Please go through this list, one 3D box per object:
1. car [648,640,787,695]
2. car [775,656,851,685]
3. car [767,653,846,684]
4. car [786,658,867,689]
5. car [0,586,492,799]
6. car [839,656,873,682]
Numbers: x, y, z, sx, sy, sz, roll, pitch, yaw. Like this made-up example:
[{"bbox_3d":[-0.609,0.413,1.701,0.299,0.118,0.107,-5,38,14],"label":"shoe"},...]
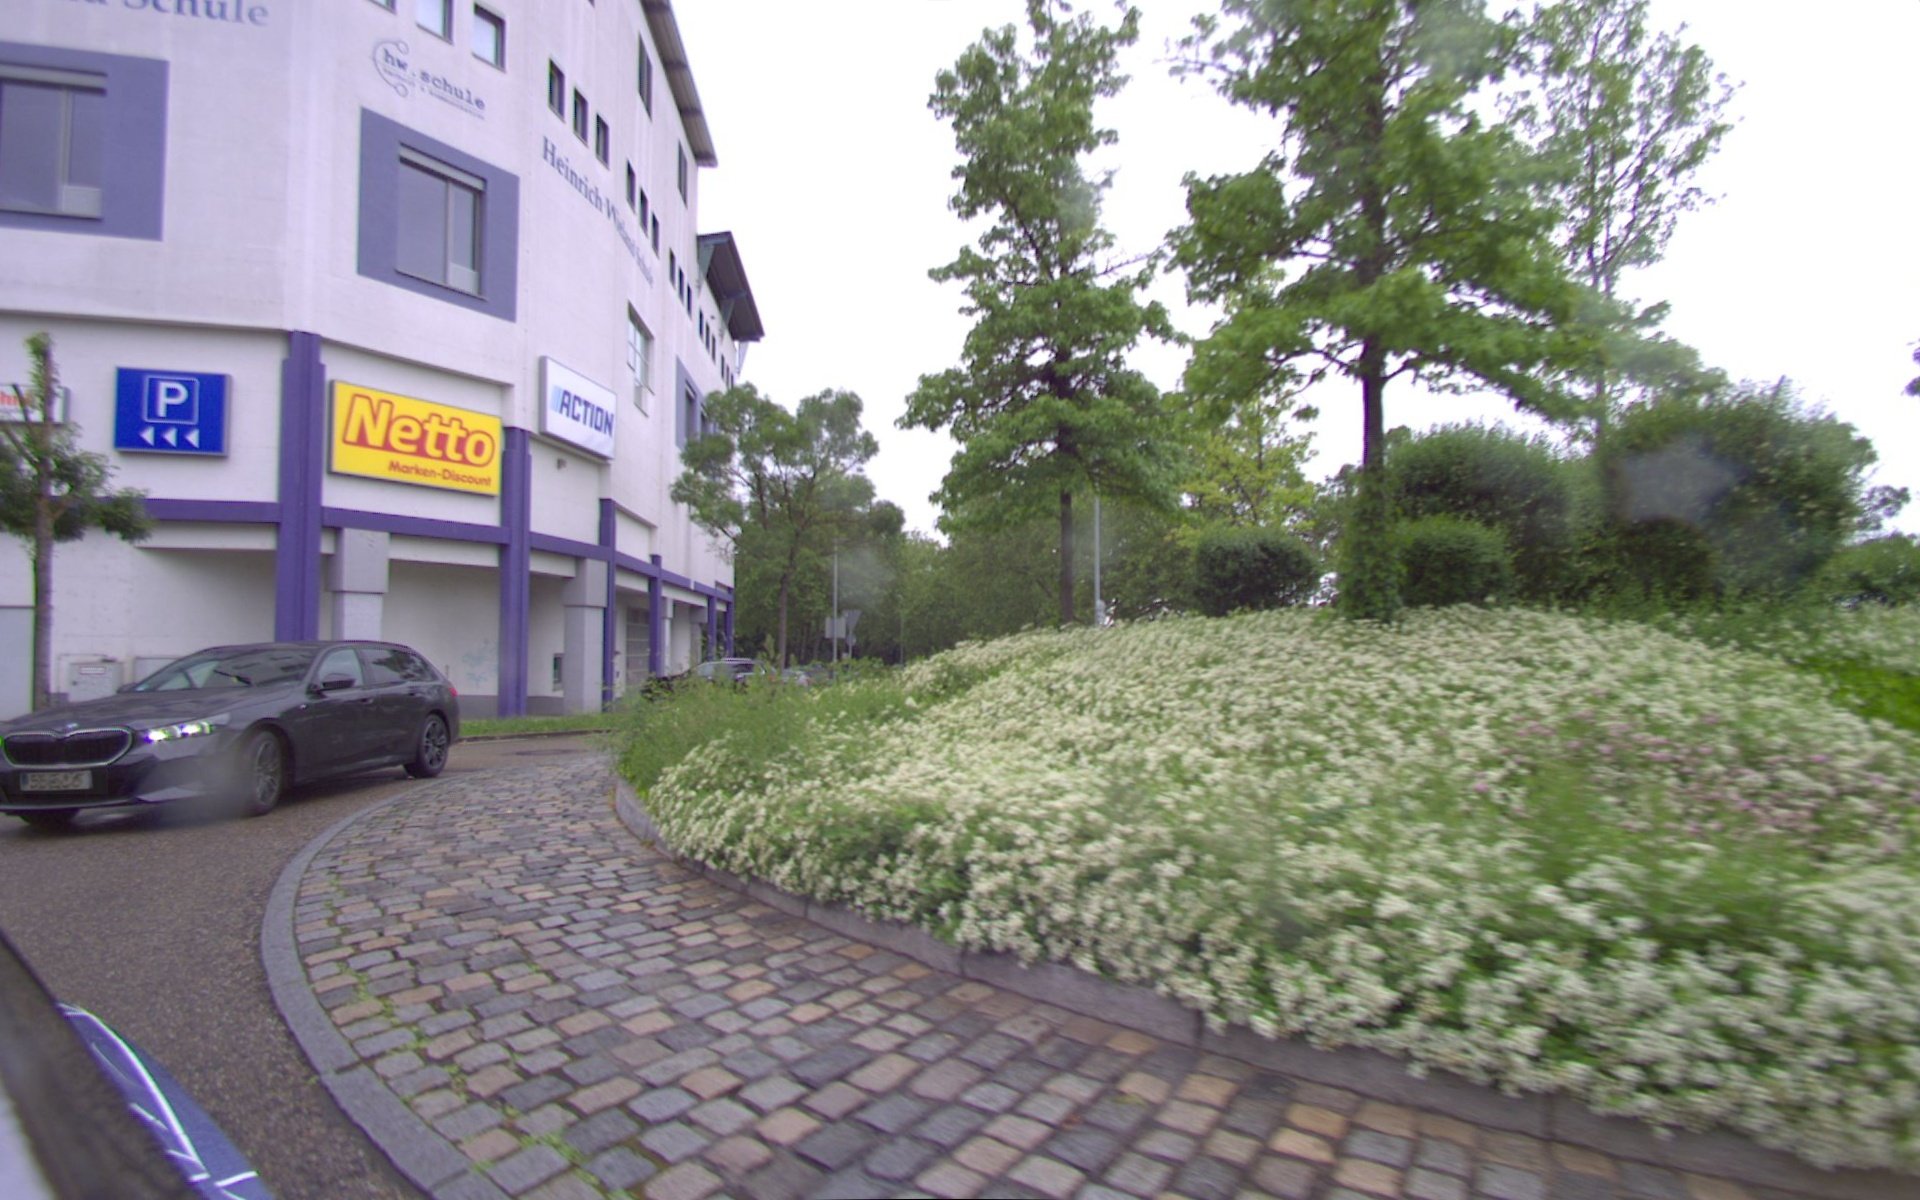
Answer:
[{"bbox_3d":[-8.044,2.297,33.955,4.323,1.773,1.831,0,-5,-6],"label":"car"},{"bbox_3d":[-8.173,3.909,56.101,4.053,1.489,1.725,2,-2,-10],"label":"car"},{"bbox_3d":[-8.970,3.988,59.051,4.412,1.693,1.771,2,-4,-10],"label":"car"},{"bbox_3d":[-6.635,3.658,50.556,3.891,1.464,1.723,1,-3,-5],"label":"car"},{"bbox_3d":[-6.603,0.826,9.734,1.820,1.506,4.897,-1,-4,2],"label":"car"},{"bbox_3d":[-7.035,4.610,68.351,1.777,1.614,4.381,3,-3,-12],"label":"car"}]
